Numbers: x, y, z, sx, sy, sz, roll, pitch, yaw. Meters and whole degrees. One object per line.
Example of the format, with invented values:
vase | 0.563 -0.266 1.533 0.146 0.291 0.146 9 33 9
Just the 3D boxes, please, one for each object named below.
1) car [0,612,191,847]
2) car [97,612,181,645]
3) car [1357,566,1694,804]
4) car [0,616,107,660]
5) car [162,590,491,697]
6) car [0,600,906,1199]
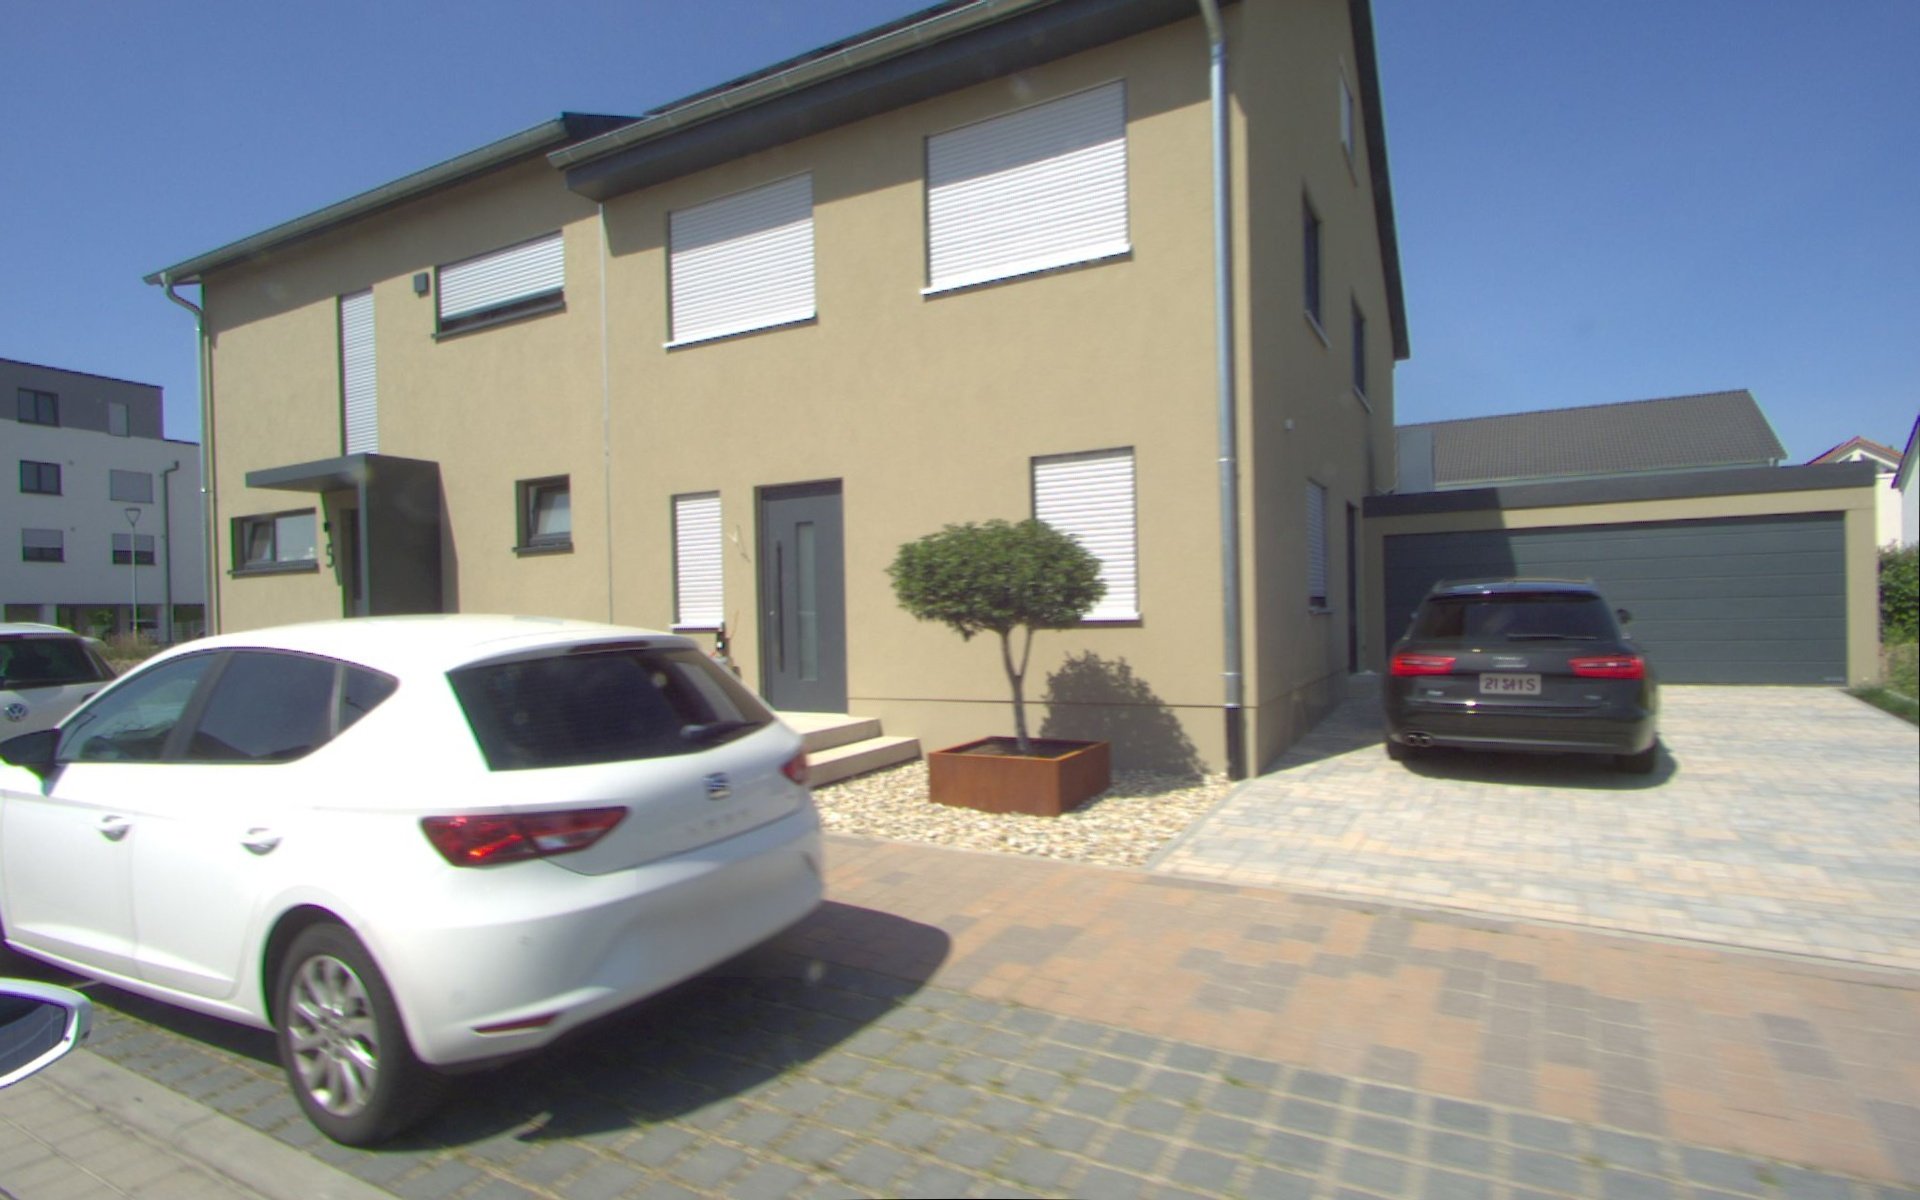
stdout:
car | -7.935 0.838 7.465 4.443 1.445 1.777 0 1 28
car | -41.681 1.457 50.859 3.619 1.522 1.877 -2 0 24
car | 4.959 0.470 8.856 1.970 1.445 4.877 -1 2 31
car | -33.071 1.350 35.319 1.851 1.454 4.160 -2 -1 23
car | -11.313 0.693 18.329 1.968 1.666 4.743 -2 0 26
car | -2.615 0.794 4.203 4.495 1.475 1.811 -1 1 29
